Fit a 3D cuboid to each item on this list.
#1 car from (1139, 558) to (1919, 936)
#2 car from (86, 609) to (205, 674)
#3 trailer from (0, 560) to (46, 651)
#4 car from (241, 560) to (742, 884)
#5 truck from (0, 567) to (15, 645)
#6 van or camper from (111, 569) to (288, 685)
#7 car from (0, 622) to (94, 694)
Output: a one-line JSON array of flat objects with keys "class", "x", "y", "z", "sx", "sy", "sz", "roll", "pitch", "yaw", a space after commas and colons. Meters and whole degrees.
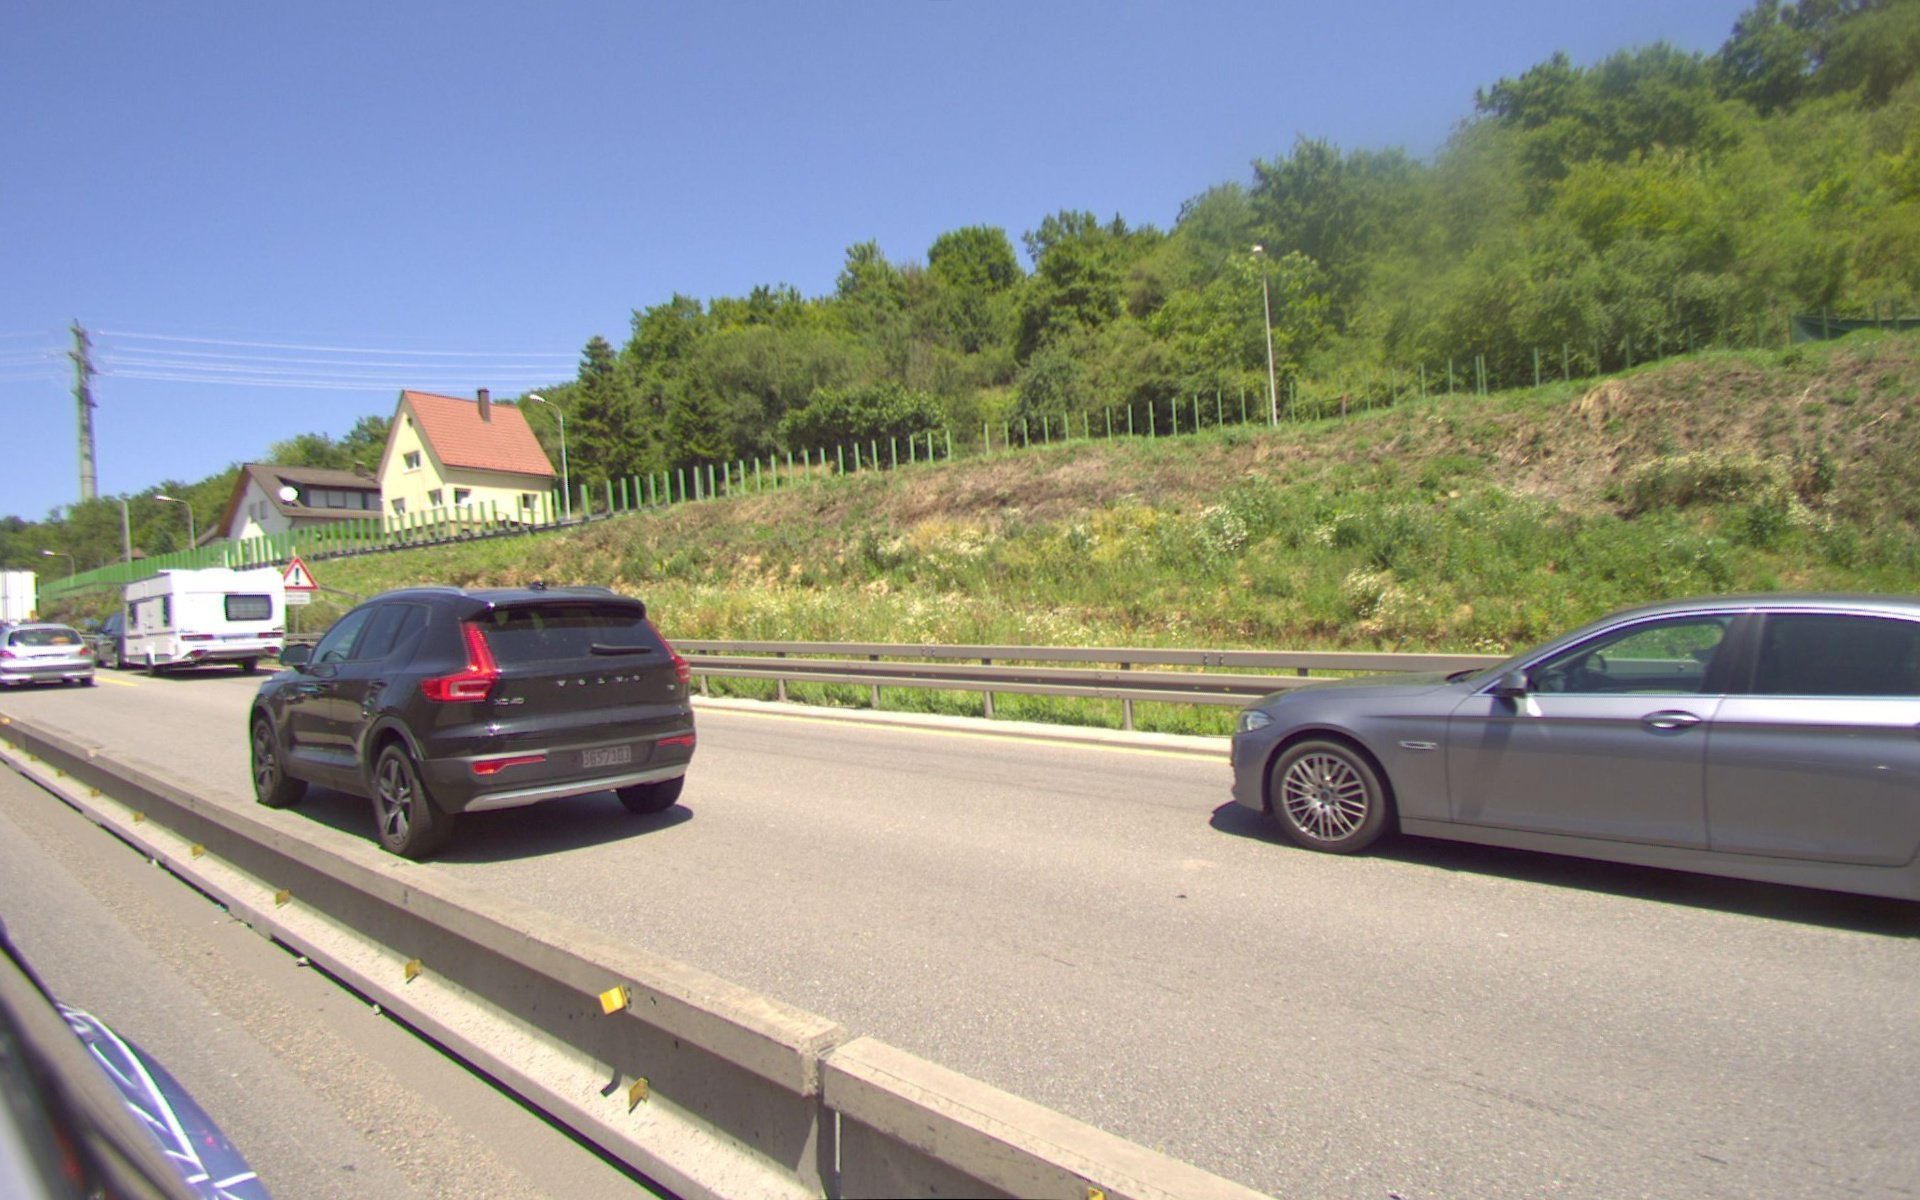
[{"class": "car", "x": 3.775, "y": 0.592, "z": 5.454, "sx": 5.298, "sy": 1.519, "sz": 1.973, "roll": -1, "pitch": 0, "yaw": 42}, {"class": "car", "x": -24.342, "y": 1.173, "z": 30.186, "sx": 4.686, "sy": 1.769, "sz": 1.973, "roll": -1, "pitch": 0, "yaw": 41}, {"class": "trailer", "x": -52.582, "y": 0.340, "z": 54.577, "sx": 14.620, "sy": 4.475, "sz": 3.072, "roll": -1, "pitch": 0, "yaw": 41}, {"class": "car", "x": -3.555, "y": 0.675, "z": 7.344, "sx": 3.998, "sy": 1.696, "sz": 1.850, "roll": -2, "pitch": -1, "yaw": 42}, {"class": "truck", "x": -58.150, "y": 0.419, "z": 59.354, "sx": 8.501, "sy": 4.427, "sz": 3.072, "roll": -1, "pitch": 0, "yaw": 41}, {"class": "van or camper", "x": -19.955, "y": 0.643, "z": 26.389, "sx": 6.899, "sy": 2.654, "sz": 2.325, "roll": -1, "pitch": 0, "yaw": 41}, {"class": "car", "x": -20.737, "y": 1.244, "z": 22.557, "sx": 3.904, "sy": 1.461, "sz": 1.649, "roll": -2, "pitch": -1, "yaw": 42}]
